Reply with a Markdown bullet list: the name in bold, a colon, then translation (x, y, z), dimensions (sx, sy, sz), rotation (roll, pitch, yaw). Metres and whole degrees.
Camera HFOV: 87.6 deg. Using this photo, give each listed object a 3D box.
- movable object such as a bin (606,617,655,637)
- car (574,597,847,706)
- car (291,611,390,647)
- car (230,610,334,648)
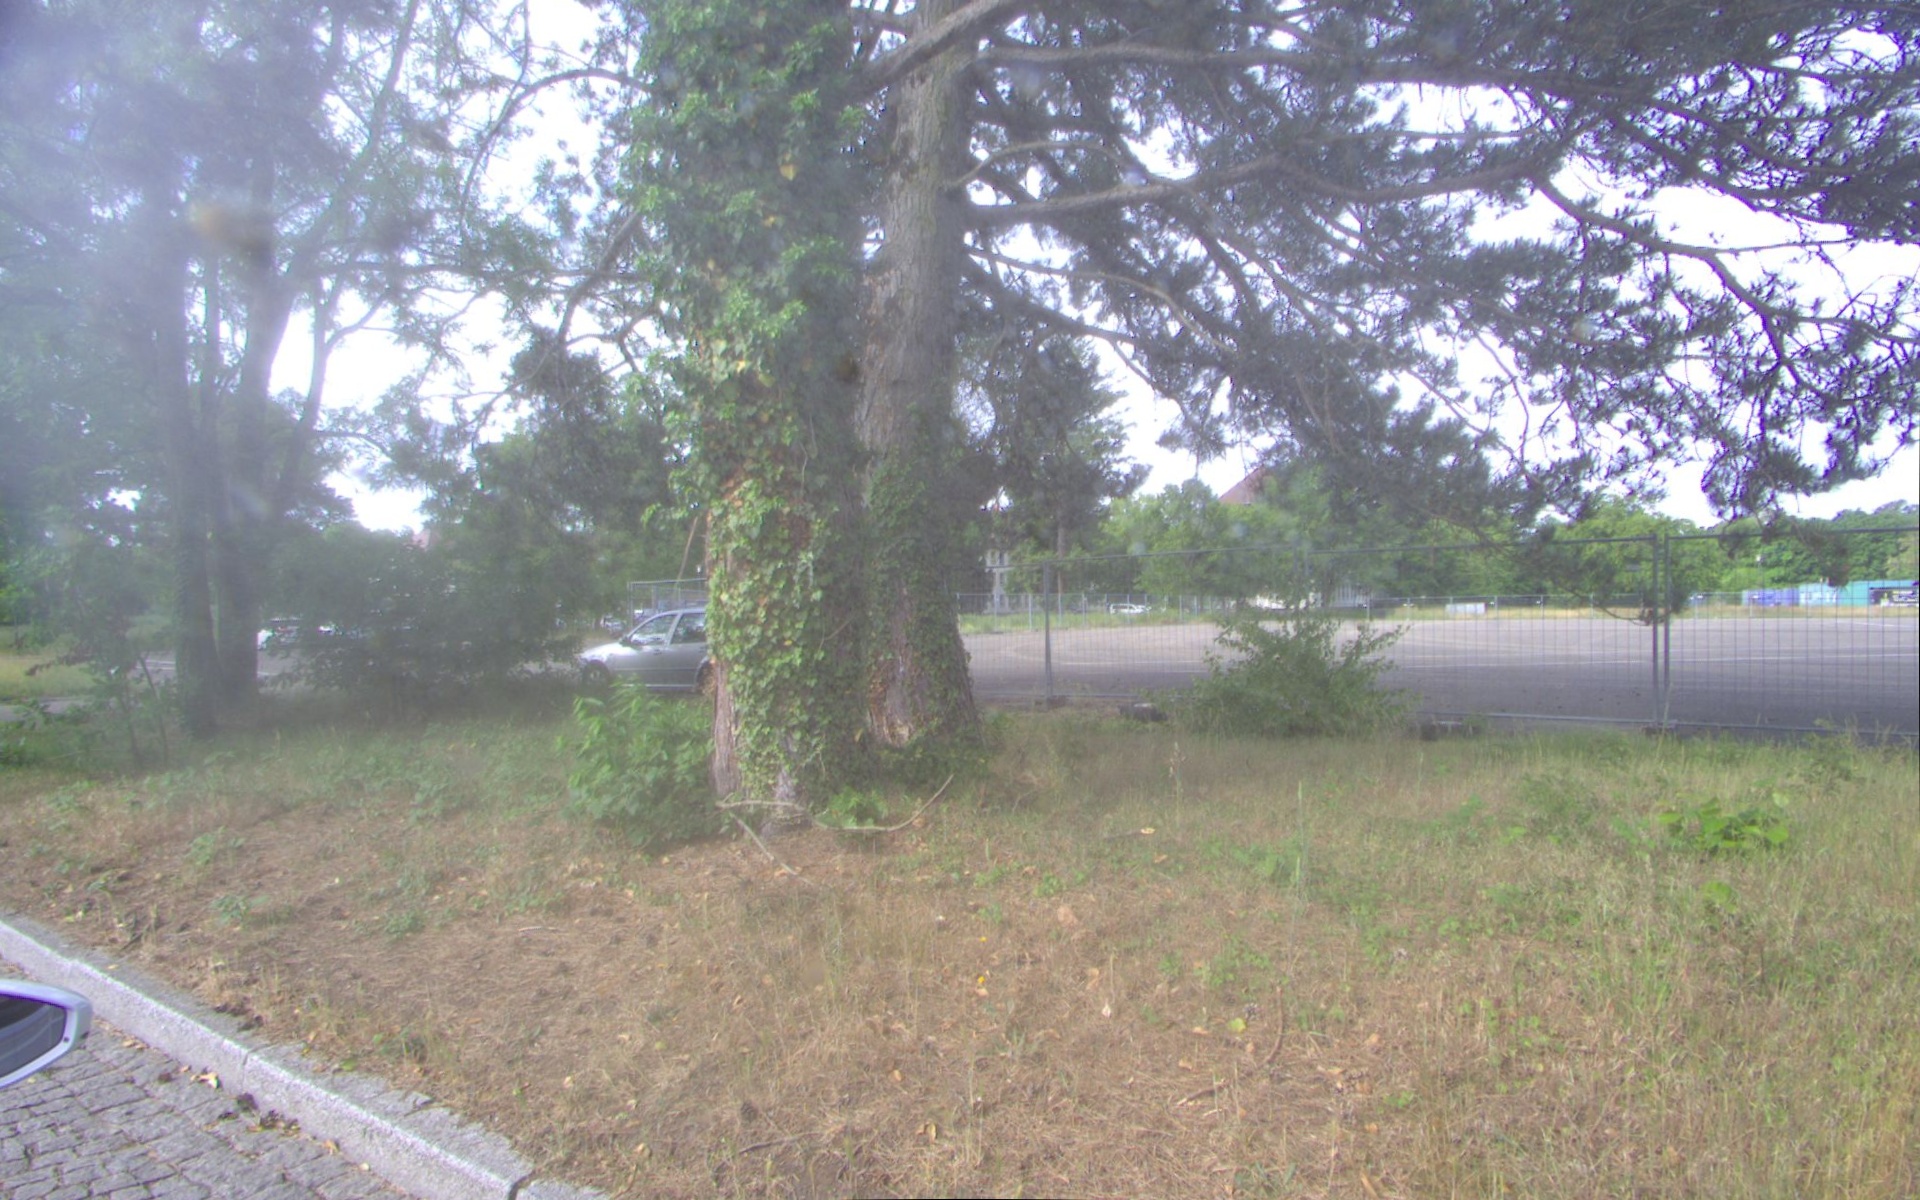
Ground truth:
- **movable object such as a bin**: translation (-14.744, 1.197, 44.766), dimensions (1.928, 0.836, 1.181), rotation (-1, 0, 37)
- **car**: translation (-3.815, 0.759, 15.141), dimensions (4.014, 1.444, 1.644), rotation (-1, -3, 31)
- **car**: translation (-28.504, 1.340, 46.072), dimensions (4.359, 1.500, 1.991), rotation (-3, -1, 29)
- **car**: translation (-29.689, 1.272, 43.846), dimensions (4.359, 1.500, 1.991), rotation (-3, -1, 29)
